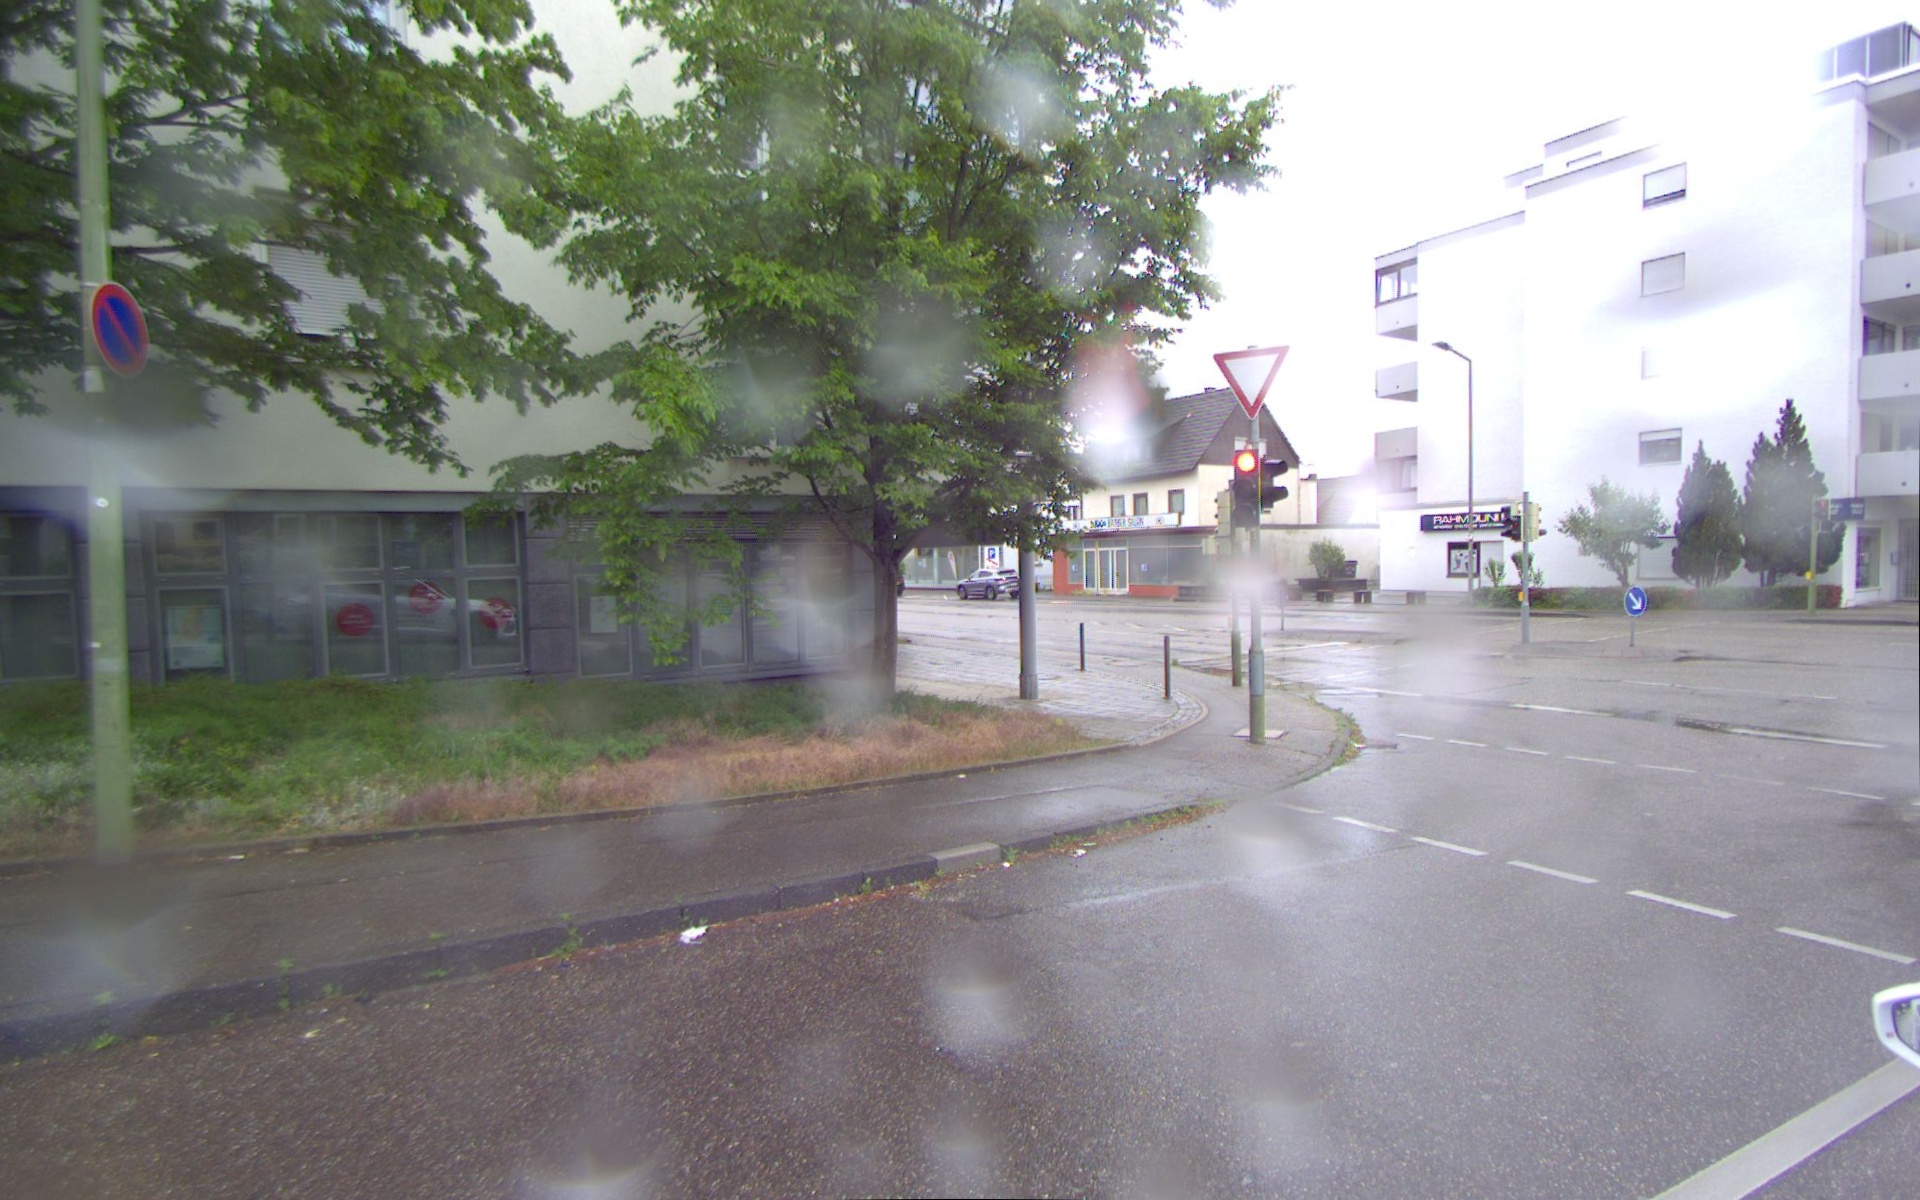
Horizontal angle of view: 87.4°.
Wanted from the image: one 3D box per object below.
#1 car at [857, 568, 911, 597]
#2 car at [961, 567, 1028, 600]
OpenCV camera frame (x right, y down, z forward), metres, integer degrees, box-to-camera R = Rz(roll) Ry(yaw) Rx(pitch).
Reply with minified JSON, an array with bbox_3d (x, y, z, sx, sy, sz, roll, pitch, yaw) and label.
[{"bbox_3d":[-5.084,-1.198,66.648,2.087,1.719,3.968,-1,4,-30],"label":"car"},{"bbox_3d":[1.914,-0.966,56.501,1.976,1.718,3.968,-1,3,-30],"label":"car"}]
